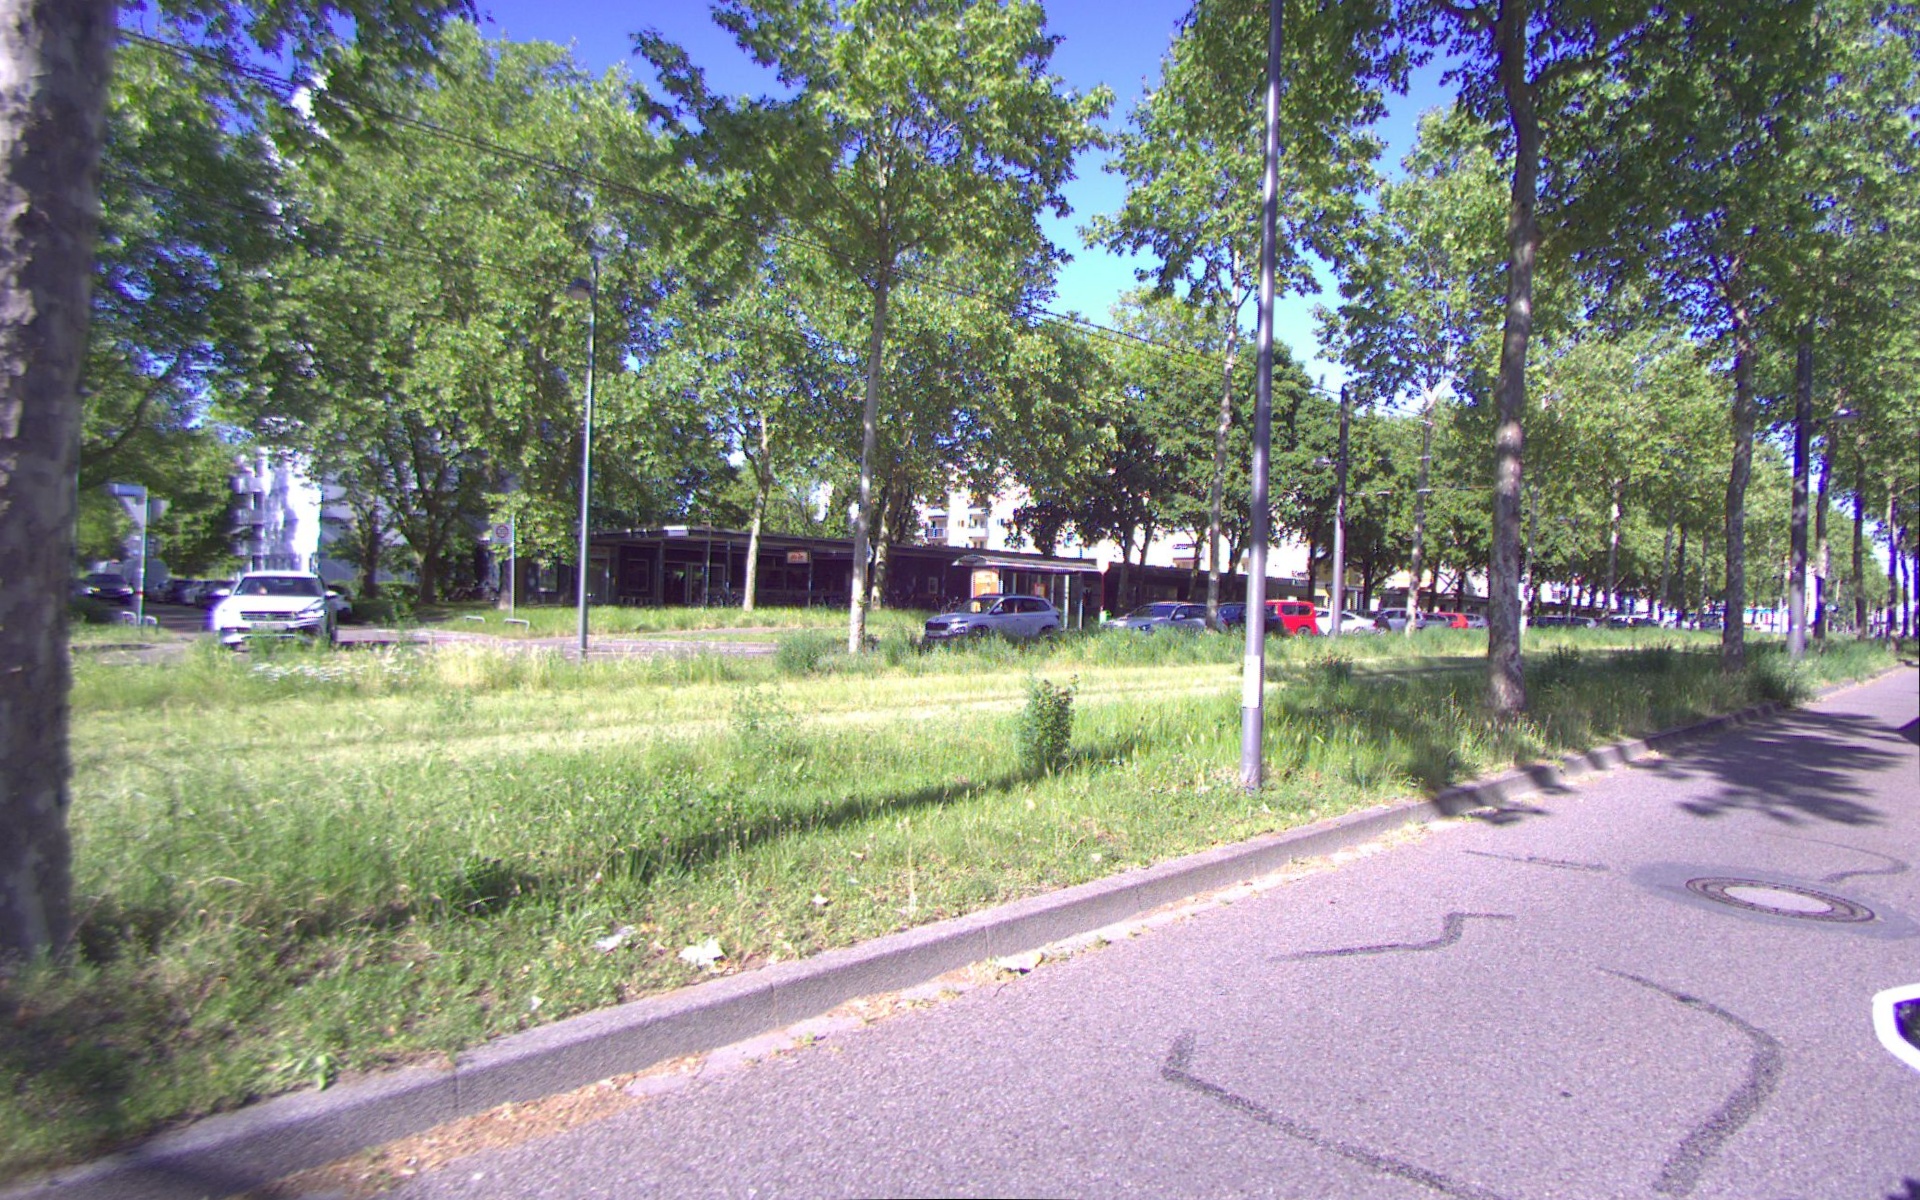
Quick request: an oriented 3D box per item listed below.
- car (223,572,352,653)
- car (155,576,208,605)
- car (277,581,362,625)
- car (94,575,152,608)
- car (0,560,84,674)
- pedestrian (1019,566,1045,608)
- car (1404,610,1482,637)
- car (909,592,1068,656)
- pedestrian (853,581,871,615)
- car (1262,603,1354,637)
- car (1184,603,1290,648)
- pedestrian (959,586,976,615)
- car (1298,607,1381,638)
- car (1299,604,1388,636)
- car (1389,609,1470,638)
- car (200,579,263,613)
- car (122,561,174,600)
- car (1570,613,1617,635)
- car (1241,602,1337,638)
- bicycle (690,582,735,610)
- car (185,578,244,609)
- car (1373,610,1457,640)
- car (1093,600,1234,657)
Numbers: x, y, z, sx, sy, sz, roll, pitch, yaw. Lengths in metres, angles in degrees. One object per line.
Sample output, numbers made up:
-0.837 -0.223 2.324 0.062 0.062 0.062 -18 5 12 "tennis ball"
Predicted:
-14.013 0.225 21.144 1.777 1.530 4.058 1 0 -27 "car"
-43.341 -0.554 55.898 3.945 1.530 1.789 2 0 44 "car"
-23.904 0.098 37.432 3.945 1.530 1.789 2 0 44 "car"
-41.574 -0.435 49.883 3.945 1.530 1.789 2 0 44 "car"
-14.668 0.203 13.304 1.768 1.587 4.280 2 0 29 "car"
2.586 -0.449 36.061 0.644 1.479 0.643 1 0 -39 "pedestrian"
29.783 1.440 62.031 3.920 1.530 1.801 2 0 3 "car"
0.833 0.656 27.519 4.254 1.601 1.779 1 0 -41 "car"
-5.010 -0.108 51.247 0.641 1.683 0.646 2 1 44 "pedestrian"
17.202 0.955 49.754 3.920 1.530 1.801 2 0 3 "car"
10.158 0.919 36.769 3.966 1.530 1.779 1 0 -39 "car"
0.436 0.038 58.259 0.641 1.683 0.646 2 1 44 "pedestrian"
20.657 1.193 54.799 3.919 1.530 1.801 2 0 6 "car"
19.906 1.042 52.282 3.920 1.530 1.801 2 0 3 "car"
27.701 1.387 59.342 3.920 1.530 1.801 2 0 3 "car"
-35.053 -0.218 48.291 3.945 1.530 1.789 2 0 44 "car"
-53.849 -1.289 66.564 4.939 2.469 2.050 2 0 44 "car"
47.513 1.797 75.309 3.964 1.530 1.780 2 0 -38 "car"
15.447 0.921 47.336 3.920 1.530 1.801 2 0 3 "car"
-10.212 -0.157 41.488 0.548 1.122 1.791 2 0 40 "bicycle"
-38.576 -0.340 51.948 3.945 1.530 1.789 2 0 44 "car"
25.683 1.384 56.763 3.920 1.530 1.801 2 0 3 "car"
6.148 0.834 30.022 4.642 1.530 1.777 1 0 -43 "car"
